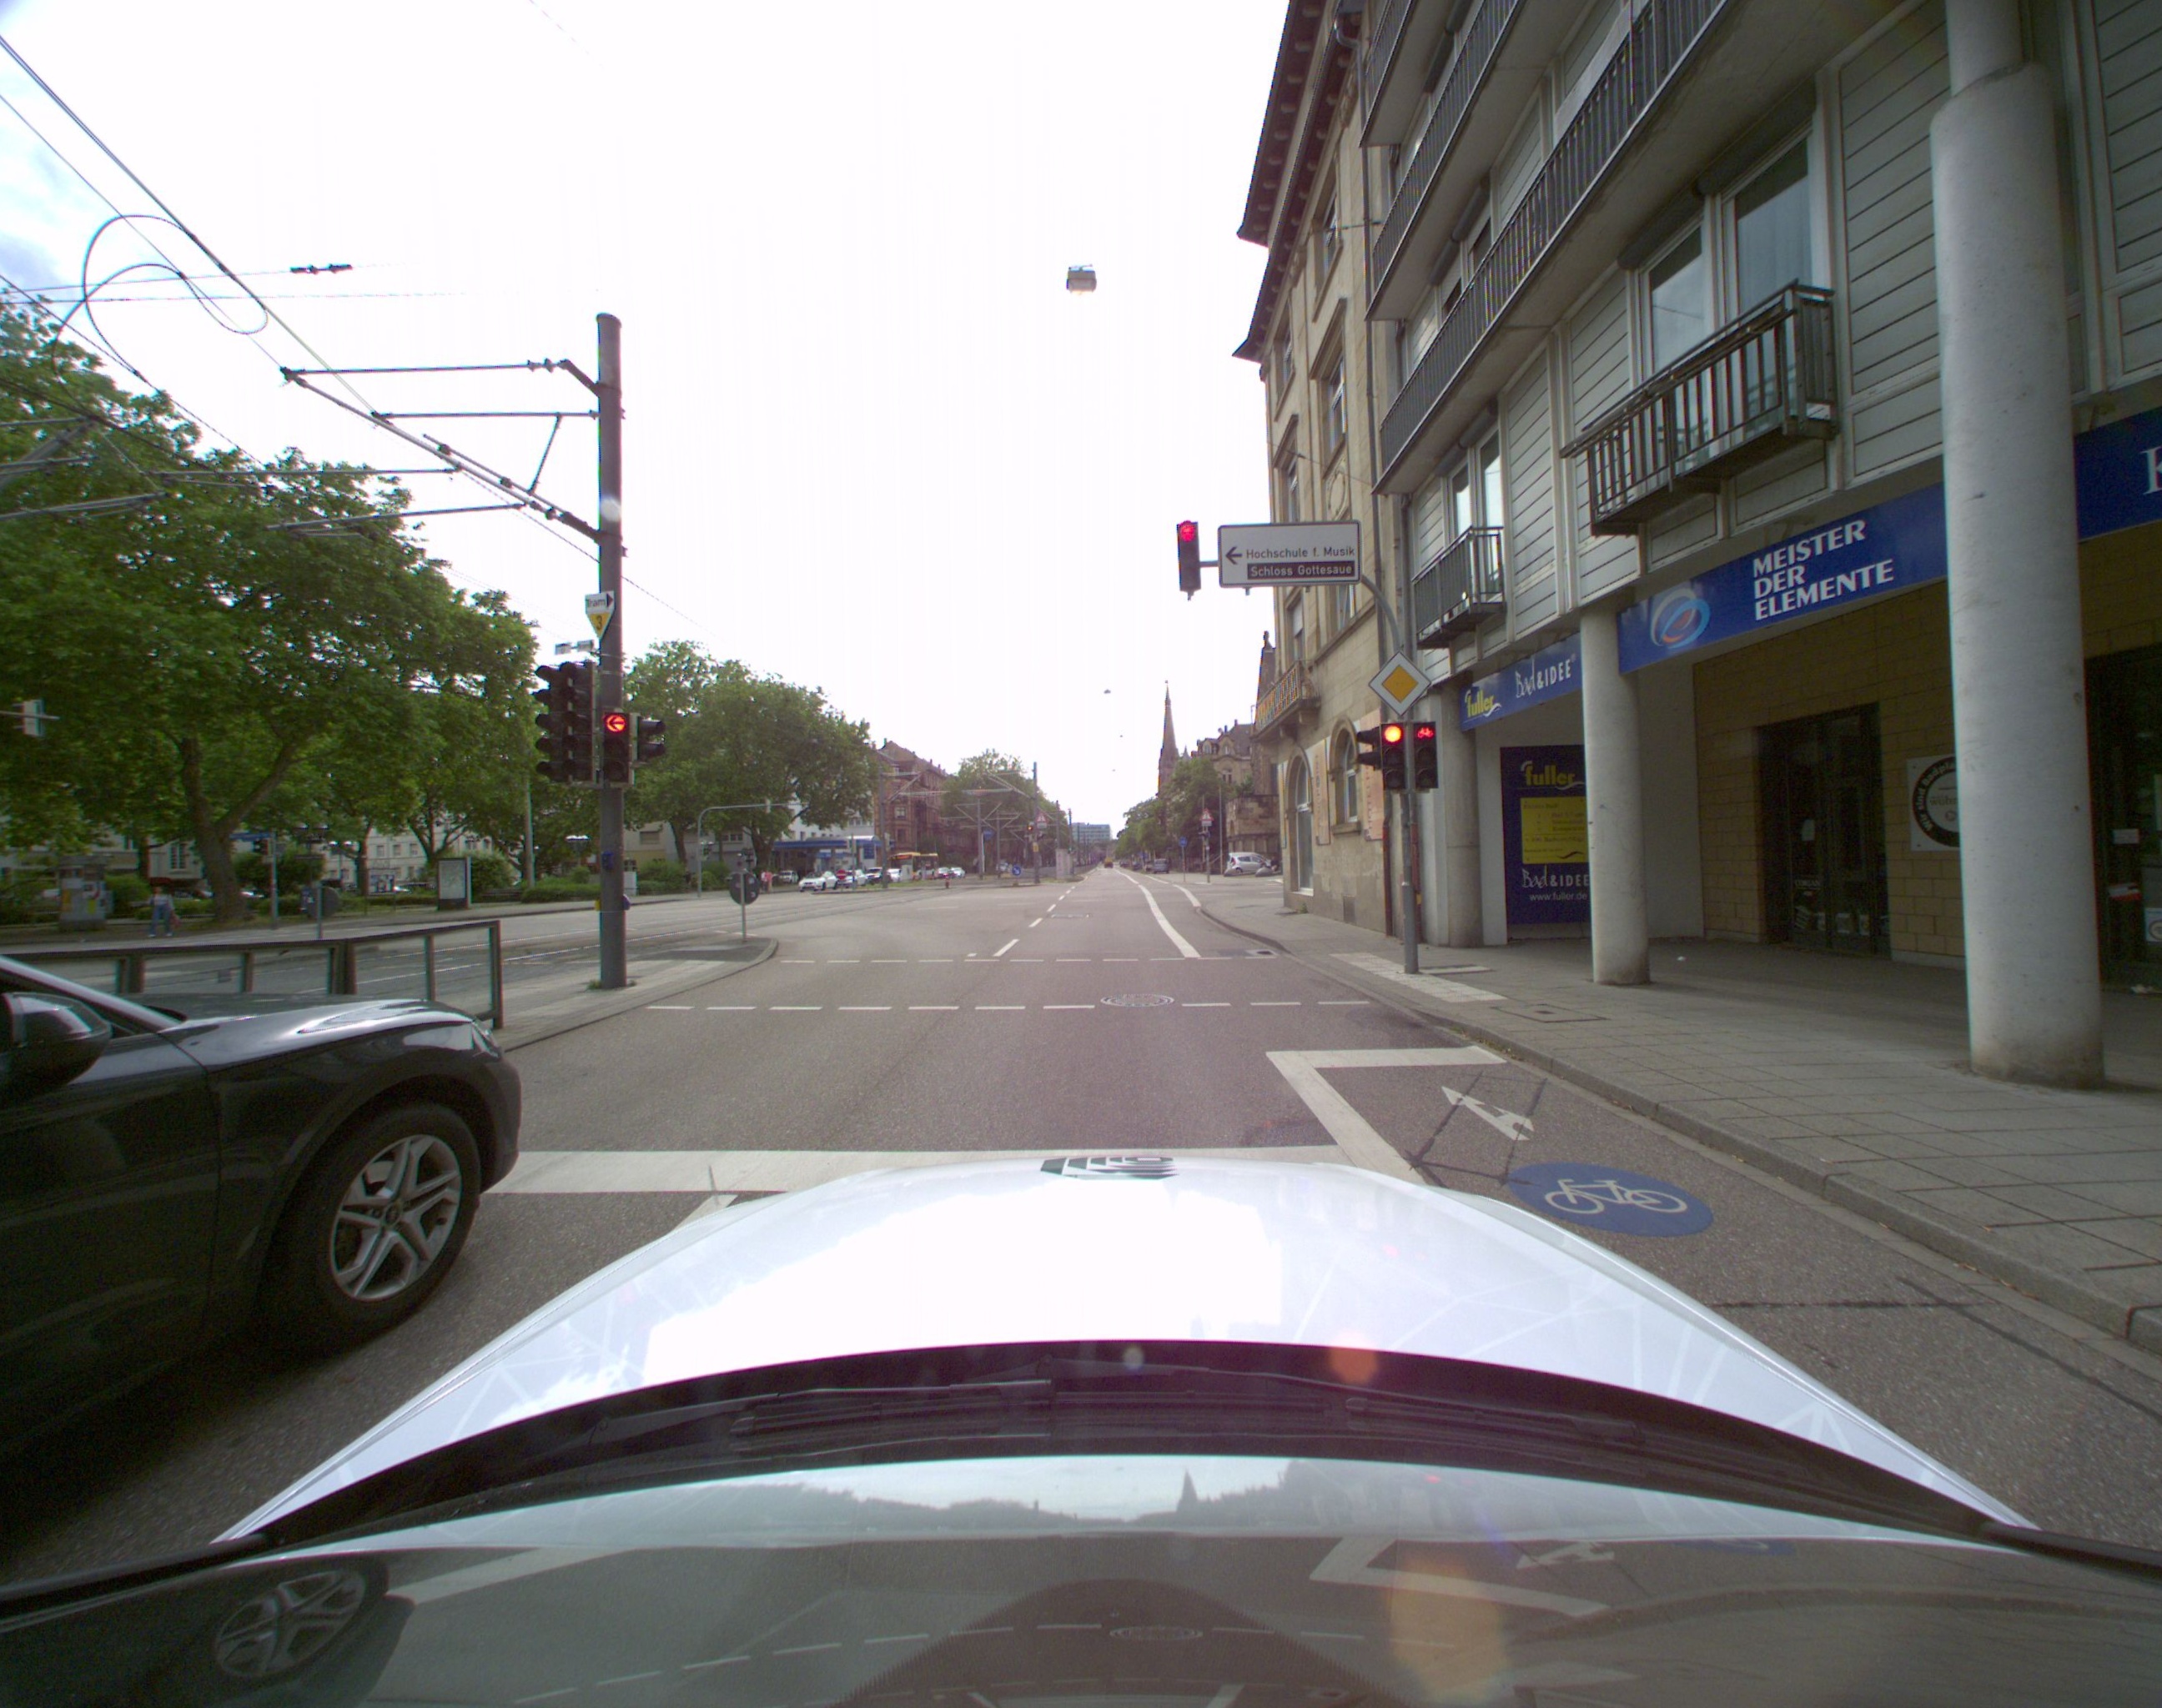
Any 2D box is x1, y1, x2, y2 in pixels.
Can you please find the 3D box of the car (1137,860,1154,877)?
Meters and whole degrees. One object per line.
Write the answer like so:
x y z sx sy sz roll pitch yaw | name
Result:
7.881 1.697 99.470 1.985 2.014 4.004 0 -1 4 | car

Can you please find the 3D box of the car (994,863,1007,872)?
-14.794 2.451 149.909 1.986 1.610 4.001 0 -1 2 | car

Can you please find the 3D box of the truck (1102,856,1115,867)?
7.569 2.070 222.346 3.042 2.769 9.826 -2 0 4 | truck

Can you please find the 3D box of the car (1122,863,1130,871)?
11.909 3.370 216.796 1.986 2.014 4.001 0 -1 2 | car

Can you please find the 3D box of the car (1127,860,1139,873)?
8.687 2.053 135.988 1.986 2.014 4.001 0 -1 2 | car

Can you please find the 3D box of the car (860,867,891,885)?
-18.329 1.937 72.728 1.649 1.478 3.641 0 -1 3 | car

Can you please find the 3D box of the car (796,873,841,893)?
-19.165 2.085 59.532 1.739 1.321 4.079 0 0 3 | car

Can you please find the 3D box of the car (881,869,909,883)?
-18.158 2.108 79.649 1.649 1.321 3.641 0 -1 3 | car

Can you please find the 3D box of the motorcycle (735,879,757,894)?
-22.646 2.187 55.093 0.604 0.928 1.953 -2 -1 2 | motorcycle

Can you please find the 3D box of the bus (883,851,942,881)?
-18.300 1.307 89.726 3.217 3.035 12.323 0 0 4 | bus

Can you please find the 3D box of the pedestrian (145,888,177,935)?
-30.466 1.892 26.981 0.674 1.510 0.661 -2 -1 44 | pedestrian

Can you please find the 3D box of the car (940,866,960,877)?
-16.514 2.198 102.758 1.649 1.321 3.641 0 -1 3 | car

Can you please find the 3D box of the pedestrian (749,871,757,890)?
-26.040 2.115 64.655 0.474 1.459 0.426 -2 -1 1 | pedestrian

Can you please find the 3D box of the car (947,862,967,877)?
-16.750 2.069 110.197 1.986 2.014 4.001 0 -1 2 | car

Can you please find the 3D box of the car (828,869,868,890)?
-18.843 2.065 66.084 1.986 1.594 4.001 0 -1 2 | car

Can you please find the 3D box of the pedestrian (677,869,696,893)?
-28.891 1.961 59.623 0.863 1.713 0.881 -2 -1 37 | pedestrian

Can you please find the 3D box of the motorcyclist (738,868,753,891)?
-22.701 1.726 55.082 0.617 1.520 0.874 -2 -1 2 | motorcyclist

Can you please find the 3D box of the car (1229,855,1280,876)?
13.748 0.905 64.753 3.699 1.563 2.001 0 -1 2 | car

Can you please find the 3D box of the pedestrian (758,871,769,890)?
-25.314 2.124 64.947 0.645 1.479 0.557 -2 -1 1 | pedestrian

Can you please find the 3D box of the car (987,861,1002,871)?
-15.054 2.070 142.100 1.986 1.610 4.001 0 -1 2 | car

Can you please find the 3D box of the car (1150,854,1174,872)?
8.973 0.988 89.960 1.979 1.855 4.042 -1 -1 14 | car

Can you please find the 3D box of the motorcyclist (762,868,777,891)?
-21.426 1.736 56.032 0.617 1.520 0.874 -2 -1 2 | motorcyclist

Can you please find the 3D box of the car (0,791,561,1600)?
-3.067 0.693 1.238 1.727 1.637 4.228 0 -1 2 | car

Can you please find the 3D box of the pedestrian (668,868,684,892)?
-29.320 1.871 58.900 0.858 1.713 0.695 -2 -1 38 | pedestrian

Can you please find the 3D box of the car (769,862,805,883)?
-29.648 1.819 82.221 1.986 2.014 4.001 -2 -1 2 | car

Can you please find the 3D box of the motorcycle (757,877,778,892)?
-21.444 2.080 55.665 0.604 0.928 1.953 -2 -1 2 | motorcycle

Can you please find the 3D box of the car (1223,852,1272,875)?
13.927 0.788 68.247 3.699 1.855 2.001 0 -1 2 | car
